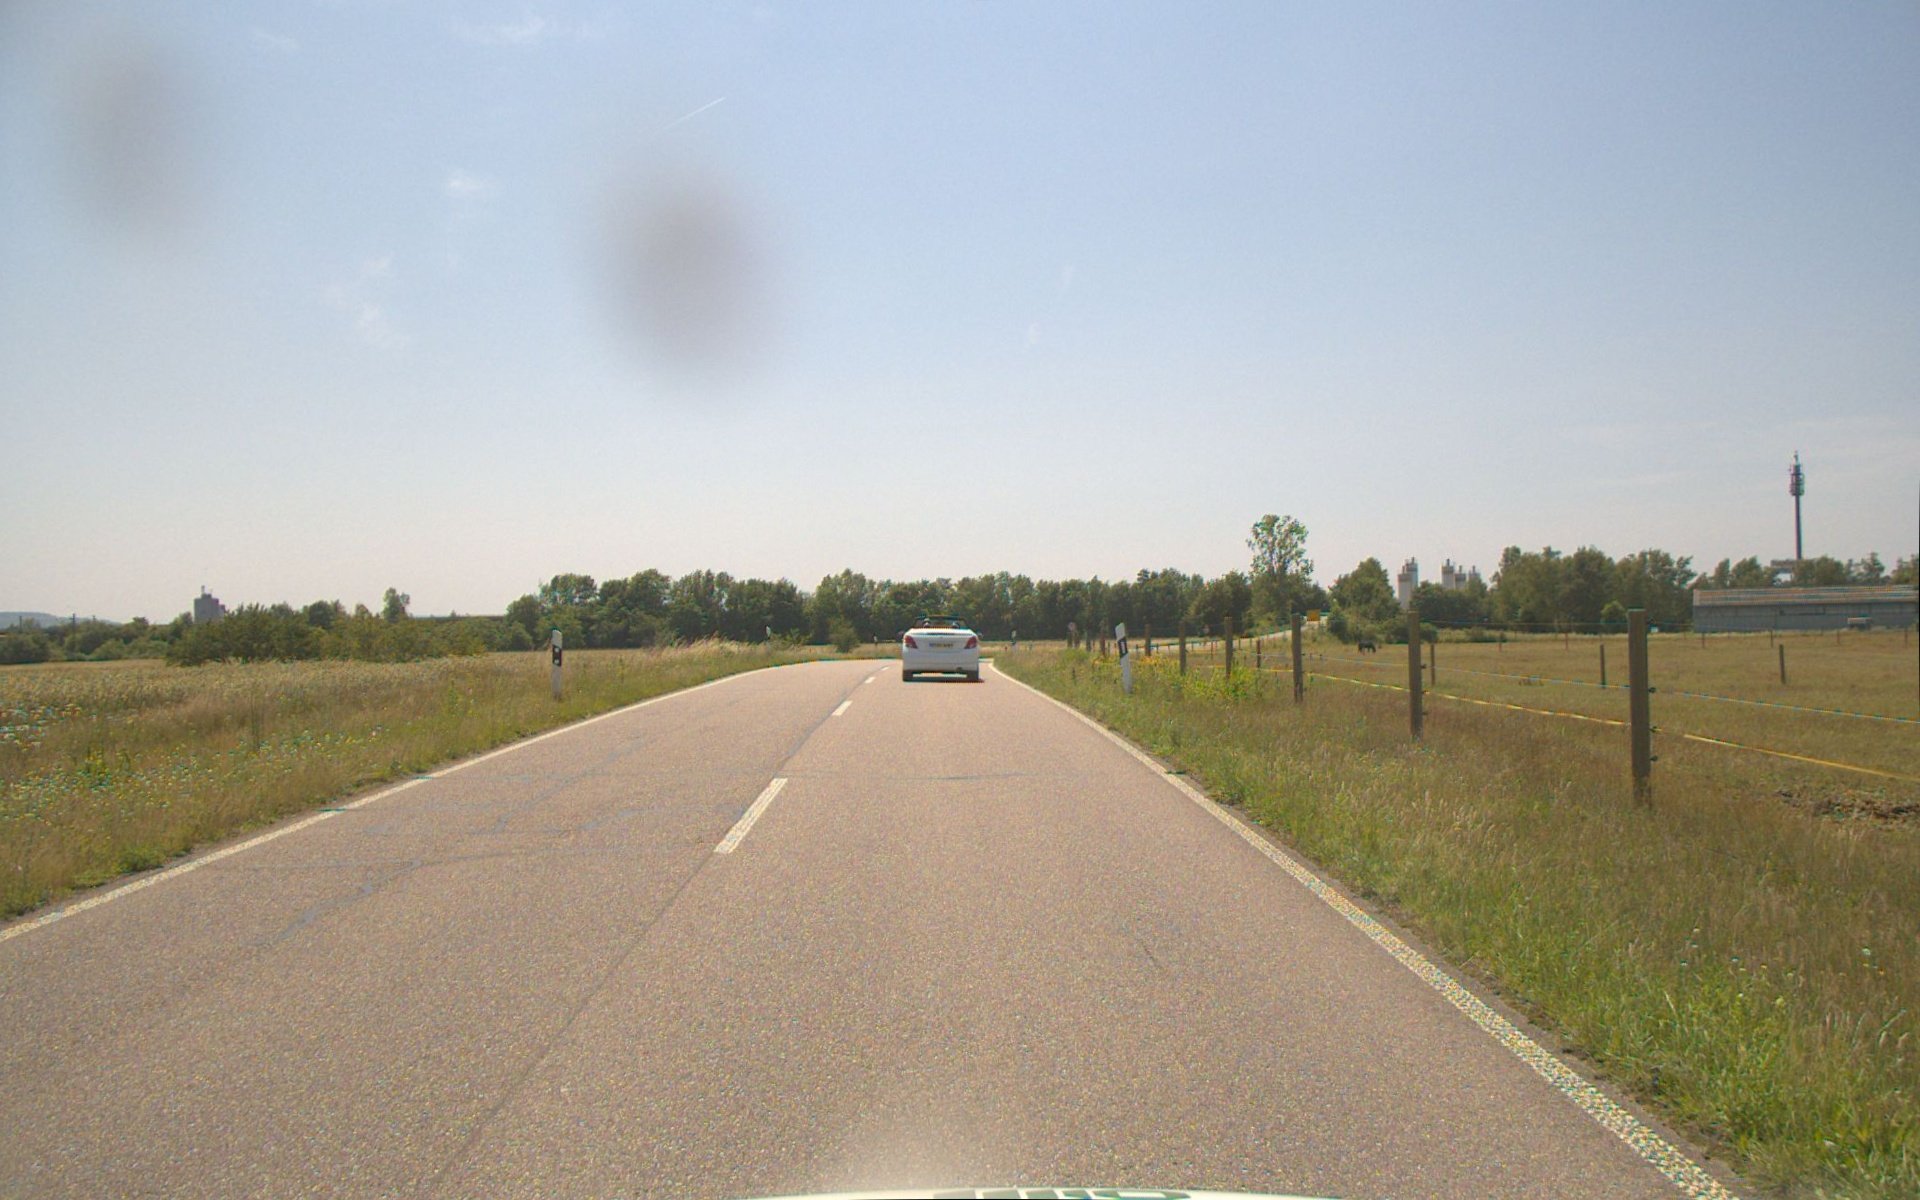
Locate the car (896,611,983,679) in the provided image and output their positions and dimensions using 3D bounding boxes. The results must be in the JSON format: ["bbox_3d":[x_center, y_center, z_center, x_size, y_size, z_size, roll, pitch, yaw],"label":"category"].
[{"bbox_3d":[-0.442,0.971,36.613,1.813,1.403,3.999,0,-1,-1],"label":"car"}]
